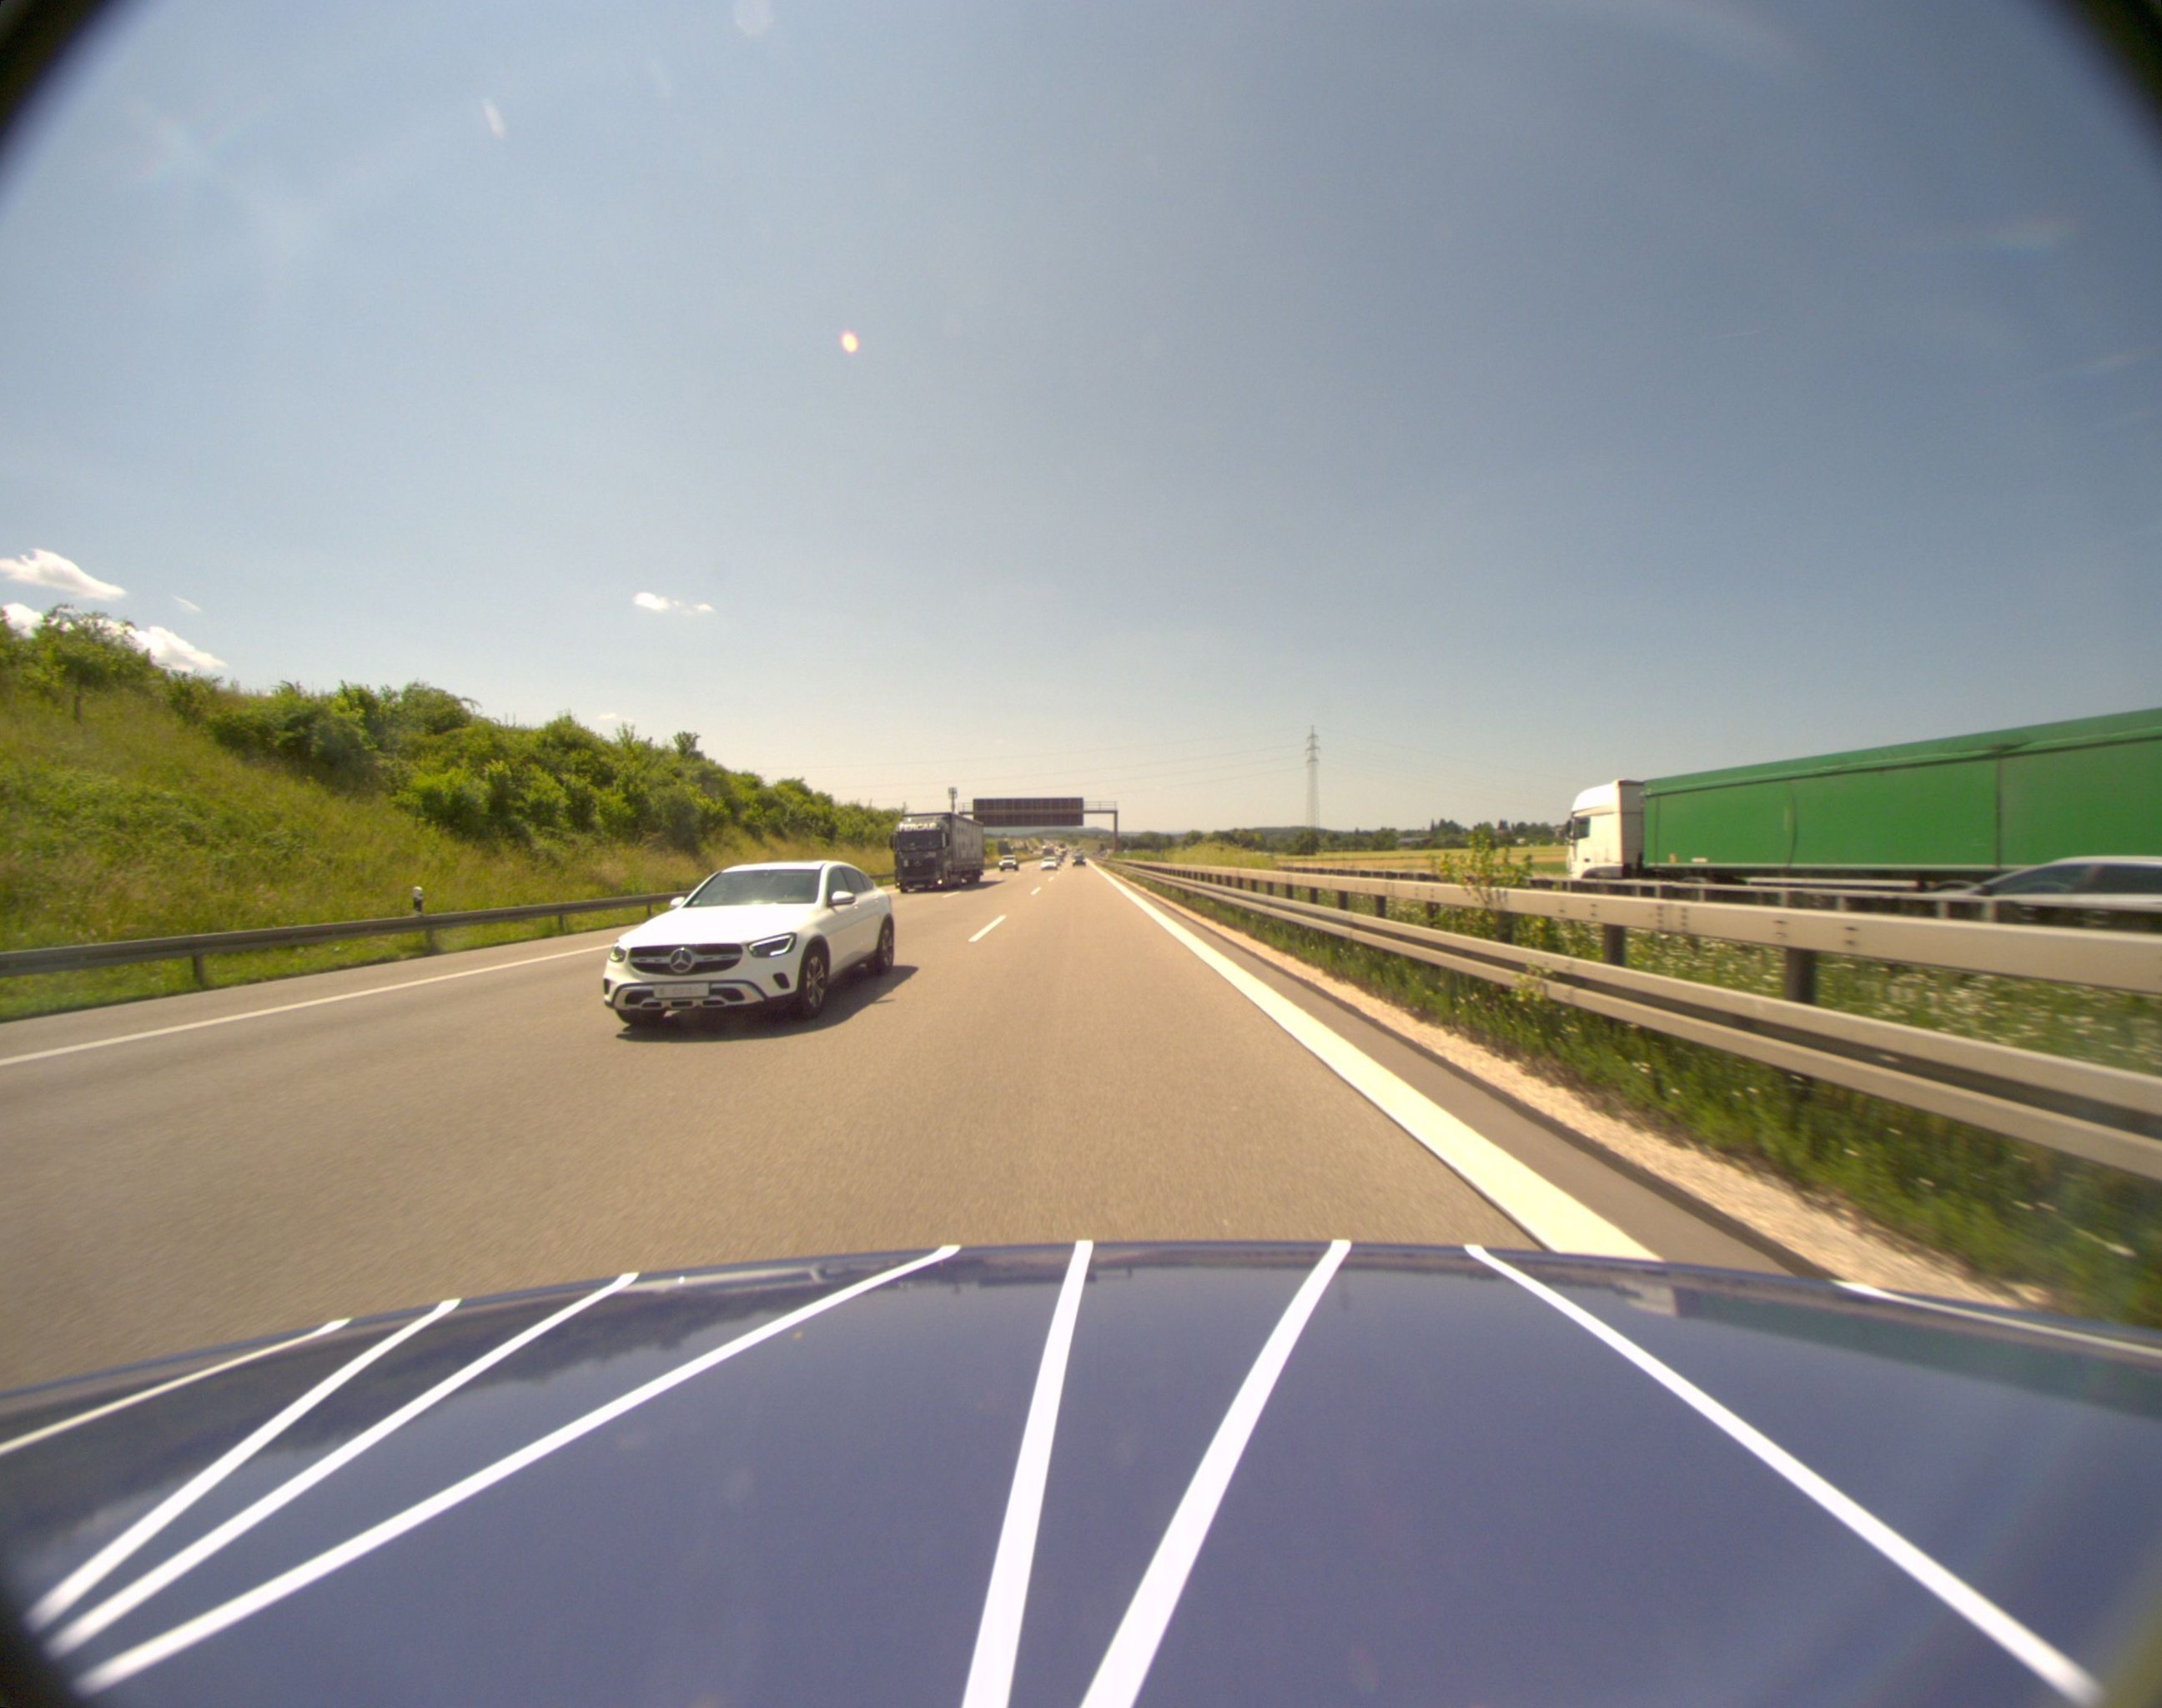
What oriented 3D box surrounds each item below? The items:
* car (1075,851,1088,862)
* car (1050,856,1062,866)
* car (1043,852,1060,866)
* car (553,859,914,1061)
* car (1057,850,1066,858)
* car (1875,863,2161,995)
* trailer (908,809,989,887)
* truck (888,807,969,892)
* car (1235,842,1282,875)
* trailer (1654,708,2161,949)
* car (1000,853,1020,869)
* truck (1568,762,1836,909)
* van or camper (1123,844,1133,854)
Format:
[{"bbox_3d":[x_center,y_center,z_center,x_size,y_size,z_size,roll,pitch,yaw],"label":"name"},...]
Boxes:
[{"bbox_3d":[0.052,0.376,105.976,1.751,1.439,3.999,-2,1,-2],"label":"car"},{"bbox_3d":[-3.855,1.074,117.485,1.635,1.381,3.999,-2,1,-2],"label":"car"},{"bbox_3d":[-3.325,0.542,87.661,1.780,1.425,4.690,-2,1,-1],"label":"car"},{"bbox_3d":[-3.590,0.943,9.214,1.919,1.571,5.230,-2,1,0],"label":"car"},{"bbox_3d":[-4.248,-0.074,165.039,1.751,1.559,3.999,-2,1,-2],"label":"car"},{"bbox_3d":[13.100,0.879,9.751,1.638,1.456,4.000,1,0,1],"label":"car"},{"bbox_3d":[-7.832,-0.398,46.746,2.732,4.131,11.806,-2,1,0],"label":"trailer"},{"bbox_3d":[-7.851,-0.240,40.103,2.759,3.997,6.787,-2,1,0],"label":"truck"},{"bbox_3d":[9.482,0.206,40.809,1.601,1.648,3.354,-2,1,-1],"label":"car"},{"bbox_3d":[17.354,-0.474,14.792,2.761,3.573,12.533,-2,1,-1],"label":"trailer"},{"bbox_3d":[-8.437,0.814,90.779,2.040,1.794,4.249,-2,1,-1],"label":"car"},{"bbox_3d":[17.285,-0.500,21.770,2.730,3.539,5.899,-2,1,-1],"label":"truck"},{"bbox_3d":[12.931,-1.319,208.430,2.233,2.494,6.596,-2,1,0],"label":"van or camper"}]
